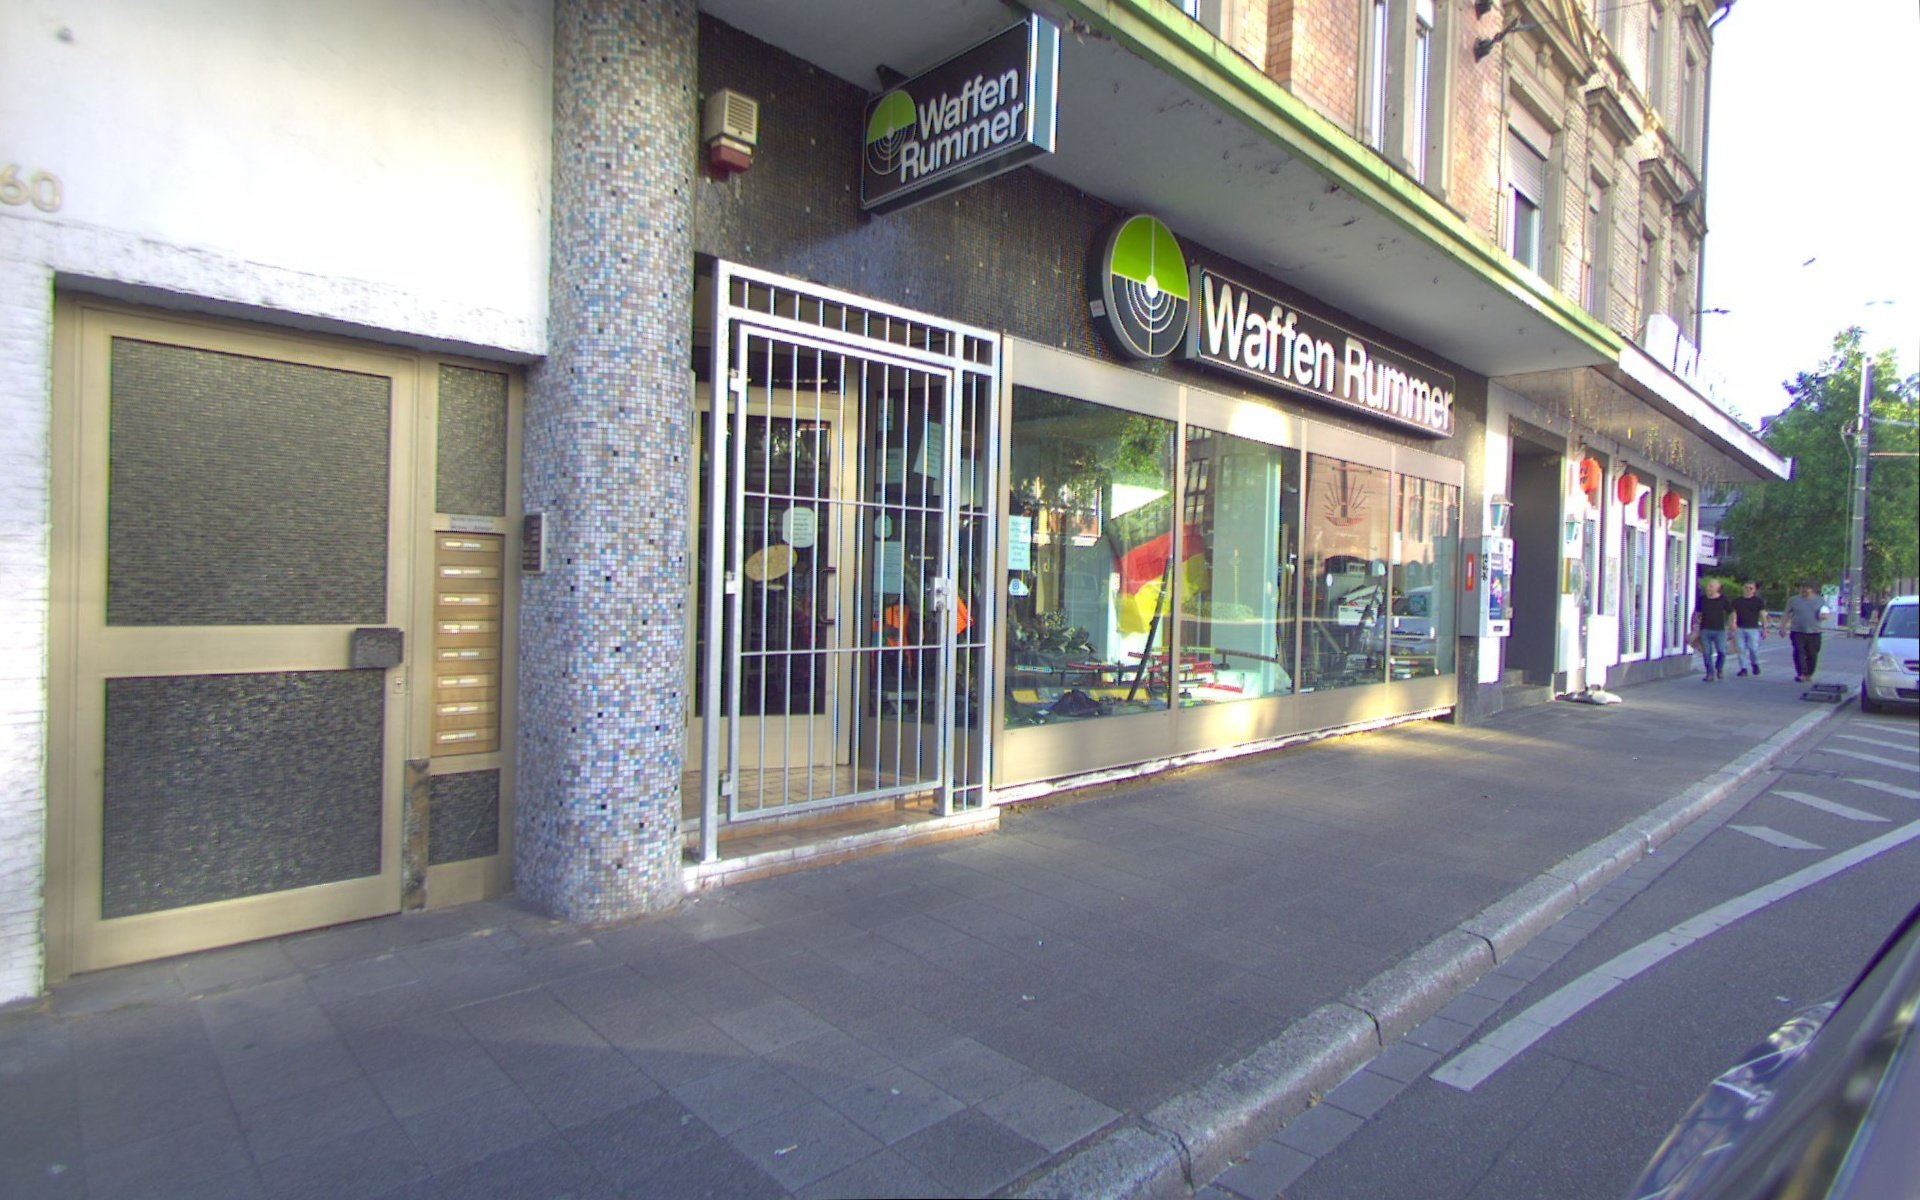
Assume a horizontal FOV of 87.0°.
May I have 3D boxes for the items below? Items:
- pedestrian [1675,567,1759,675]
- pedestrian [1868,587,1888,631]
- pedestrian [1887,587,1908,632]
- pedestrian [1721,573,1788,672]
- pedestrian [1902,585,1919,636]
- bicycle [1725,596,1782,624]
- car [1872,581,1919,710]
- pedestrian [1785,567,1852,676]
[{"bbox_3d":[12.945,0.343,17.307,1.016,1.734,0.902,0,4,-44],"label":"pedestrian"},{"bbox_3d":[37.451,0.372,41.290,0.430,1.734,0.493,0,3,-44],"label":"pedestrian"},{"bbox_3d":[37.599,0.381,40.584,0.430,1.734,0.493,0,3,-44],"label":"pedestrian"},{"bbox_3d":[14.945,0.399,19.037,1.016,1.778,0.811,0,2,-44],"label":"pedestrian"},{"bbox_3d":[33.342,0.359,35.196,0.930,1.759,0.788,0,1,-44],"label":"pedestrian"},{"bbox_3d":[34.267,0.407,43.742,0.461,1.109,1.882,0,2,-45],"label":"bicycle"},{"bbox_3d":[13.802,0.576,13.957,1.638,1.635,3.881,1,1,45],"label":"car"},{"bbox_3d":[15.752,0.366,18.569,1.016,1.922,0.794,0,2,-44],"label":"pedestrian"}]
